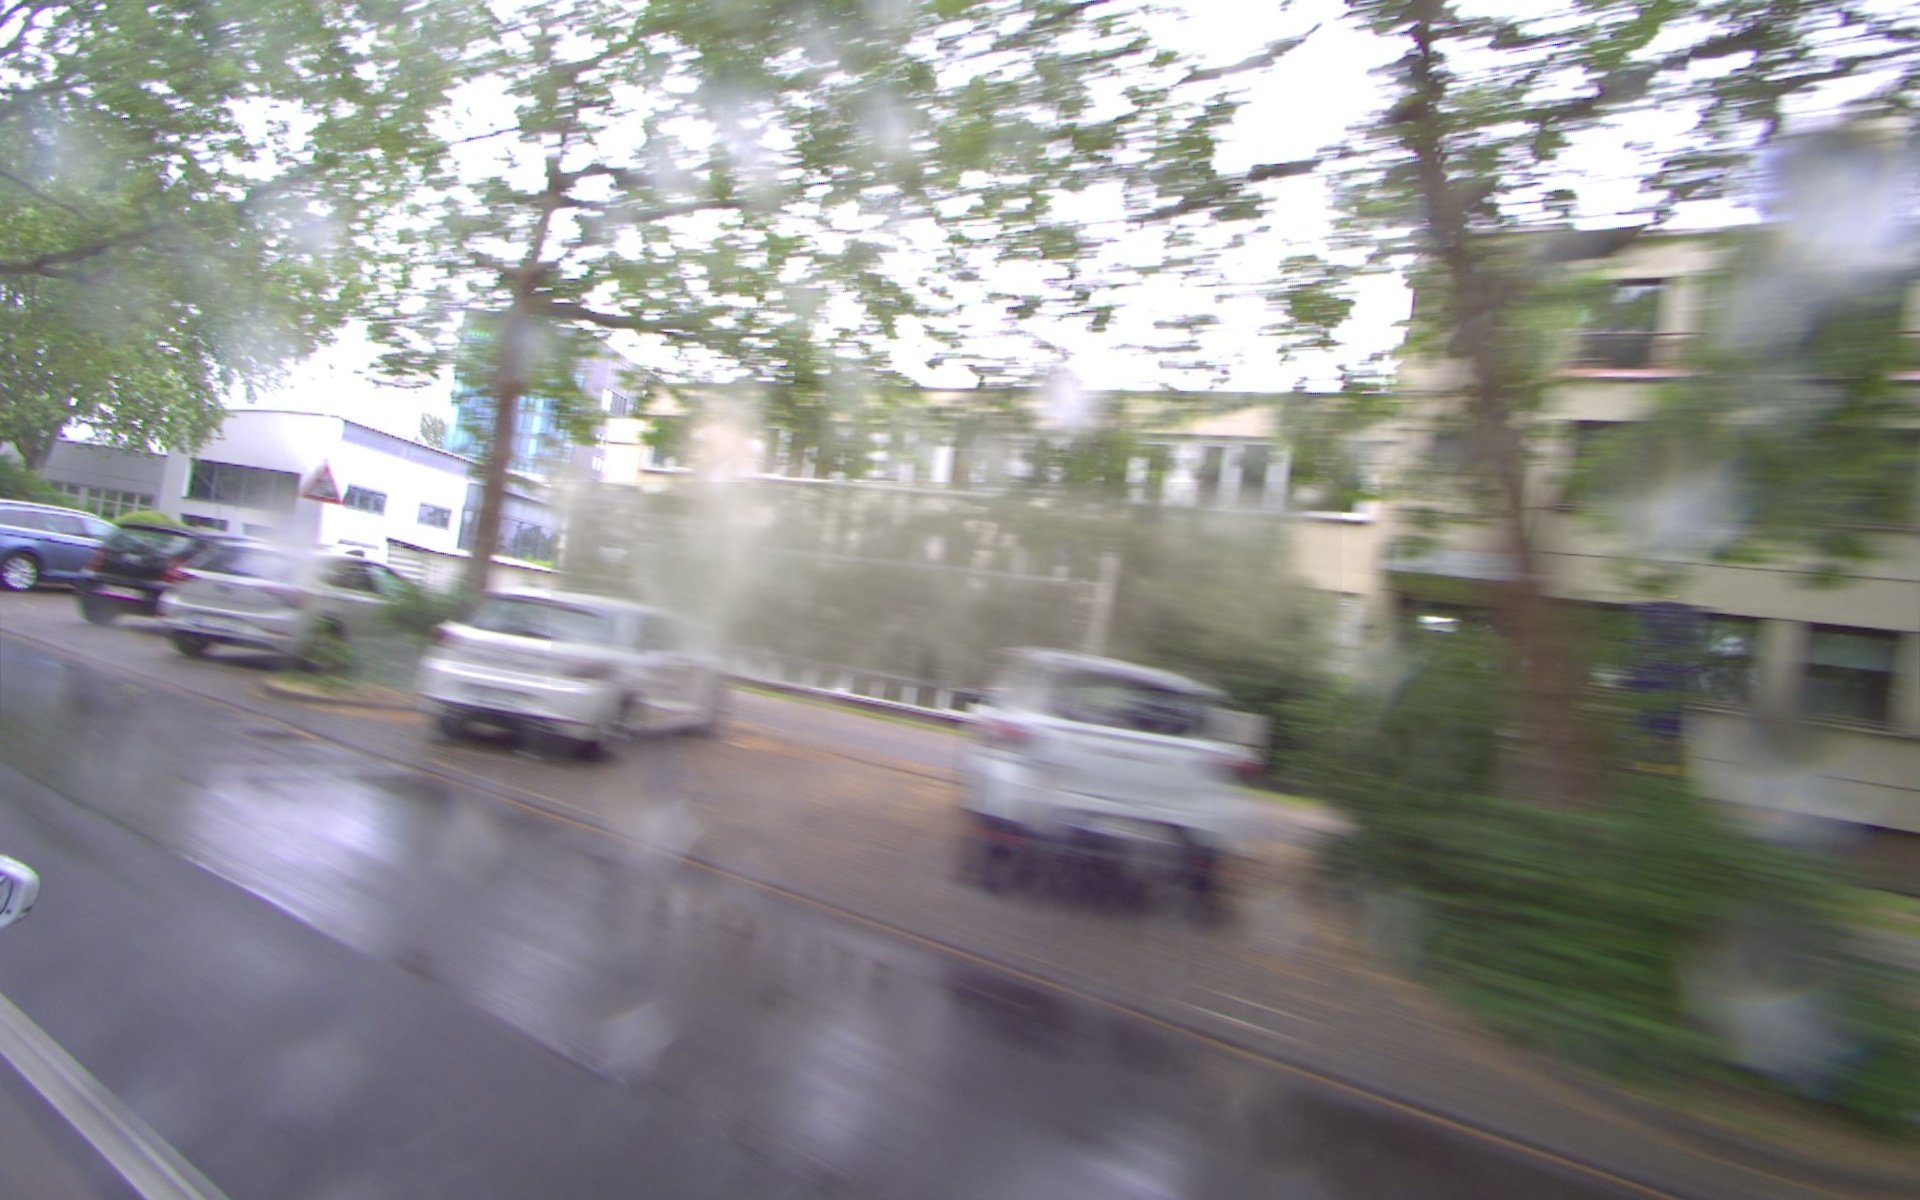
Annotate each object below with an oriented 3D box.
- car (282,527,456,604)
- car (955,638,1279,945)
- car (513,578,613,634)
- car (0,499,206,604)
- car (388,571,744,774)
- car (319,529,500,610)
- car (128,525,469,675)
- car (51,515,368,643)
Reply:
[{"bbox_3d":[-19.154,-1.063,32.861,1.749,1.777,4.553,8,-2,24],"label":"car"},{"bbox_3d":[0.932,1.204,7.945,1.717,1.556,4.041,8,-2,0],"label":"car"},{"bbox_3d":[-16.724,0.244,42.409,3.698,1.777,1.748,8,-1,27],"label":"car"},{"bbox_3d":[-15.912,-0.885,17.527,1.716,1.475,4.501,8,-2,5],"label":"car"},{"bbox_3d":[-3.670,0.685,10.179,1.716,1.432,3.697,8,-2,5],"label":"car"},{"bbox_3d":[-16.825,-0.867,31.012,1.718,1.777,4.551,8,-2,27],"label":"car"},{"bbox_3d":[-8.270,0.072,13.051,1.743,1.432,3.695,8,-2,2],"label":"car"},{"bbox_3d":[-10.870,-0.204,14.956,1.717,1.432,3.696,8,-2,2],"label":"car"}]
